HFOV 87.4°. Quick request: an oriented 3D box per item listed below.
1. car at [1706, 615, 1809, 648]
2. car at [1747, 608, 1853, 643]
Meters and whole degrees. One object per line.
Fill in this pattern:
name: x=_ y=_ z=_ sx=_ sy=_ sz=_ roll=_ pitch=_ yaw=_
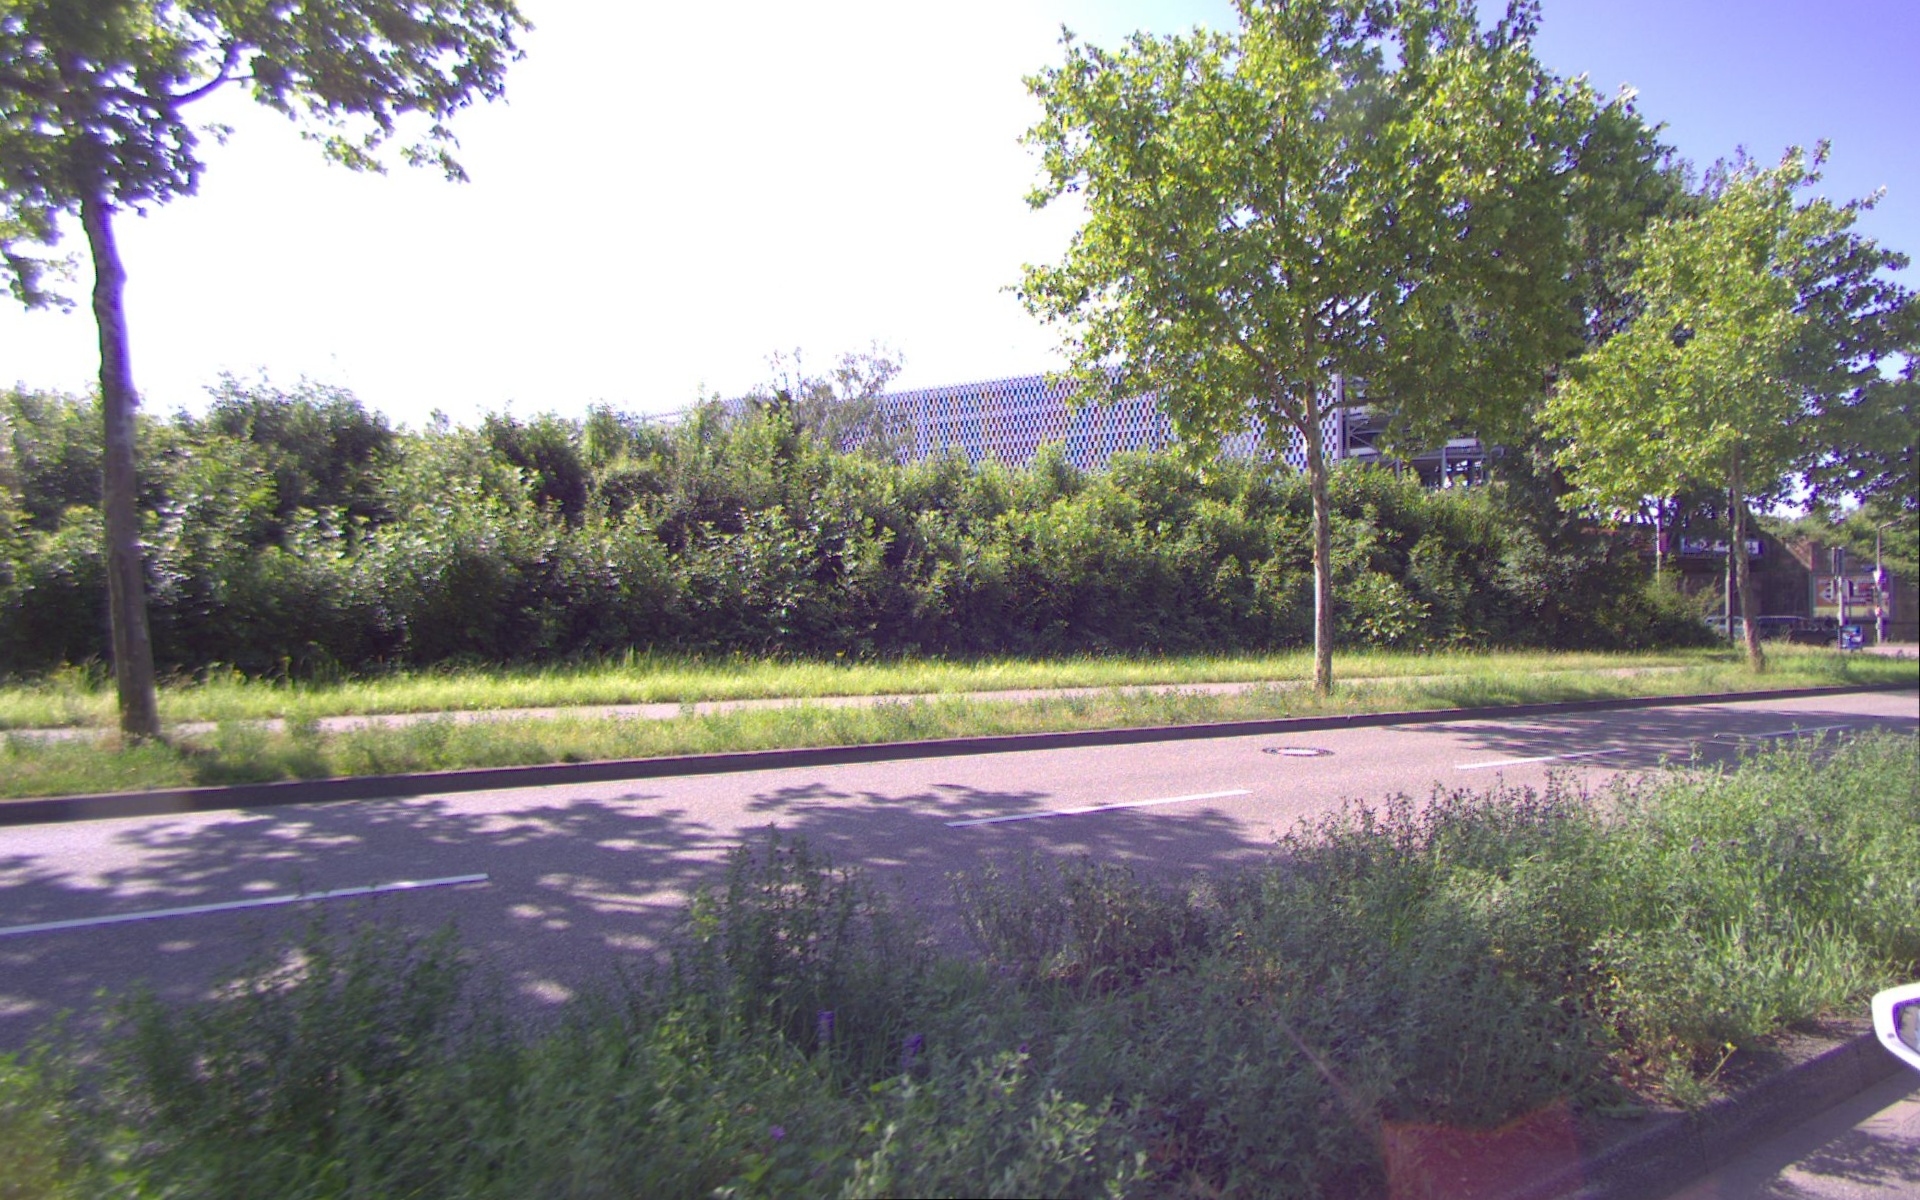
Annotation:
car: x=43.170 y=1.676 z=54.475 sx=4.040 sy=1.648 sz=1.997 roll=1 pitch=0 yaw=29
car: x=41.994 y=1.260 z=50.340 sx=3.937 sy=1.595 sz=1.931 roll=1 pitch=0 yaw=38
